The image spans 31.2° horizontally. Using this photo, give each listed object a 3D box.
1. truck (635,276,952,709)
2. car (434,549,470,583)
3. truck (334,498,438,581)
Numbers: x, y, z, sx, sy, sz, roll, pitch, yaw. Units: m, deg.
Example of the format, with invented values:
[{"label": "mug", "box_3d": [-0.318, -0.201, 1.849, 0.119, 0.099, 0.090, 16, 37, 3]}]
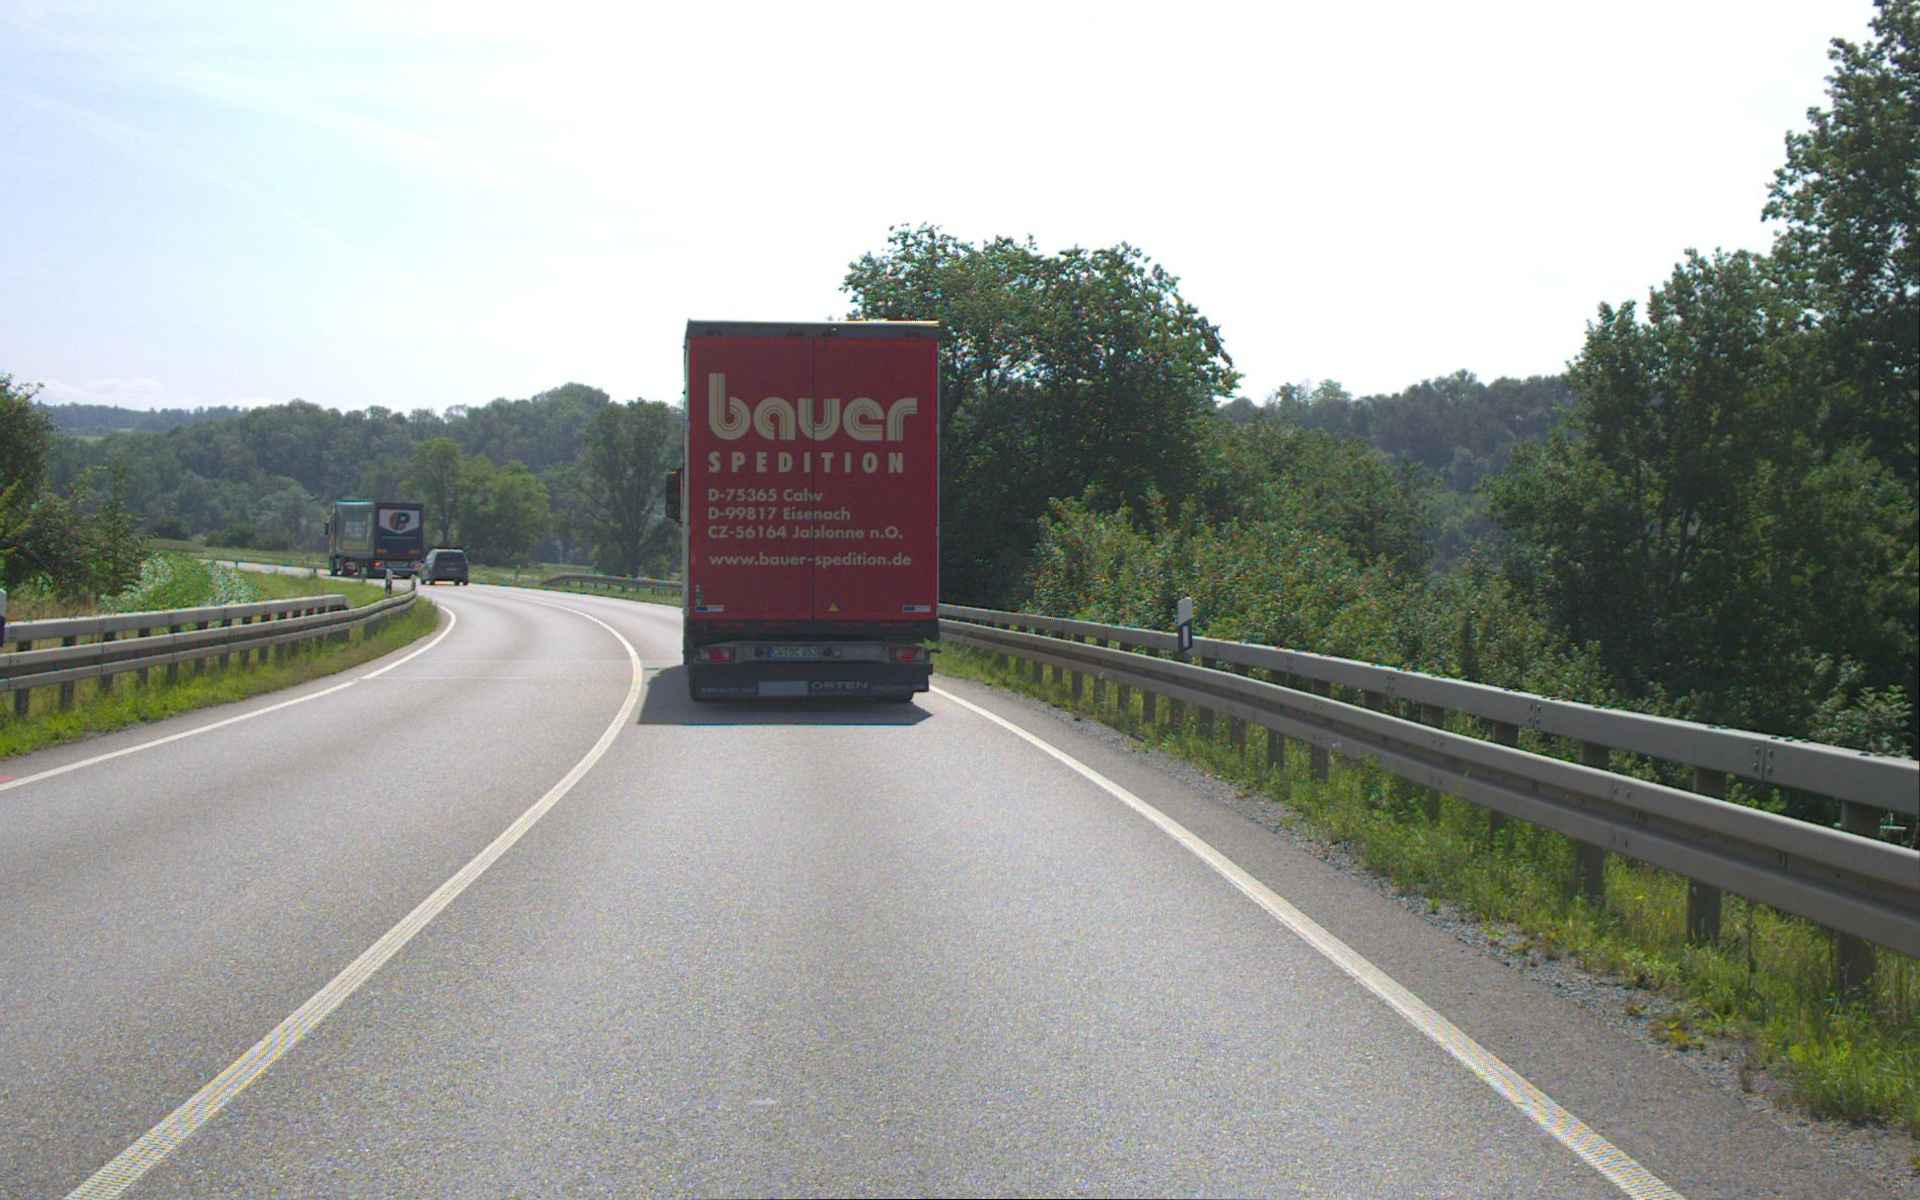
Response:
[{"label": "truck", "box_3d": [-1.885, -1.119, 38.150, 3.094, 4.248, 8.315, 0, 1, -3]}, {"label": "car", "box_3d": [-23.671, -1.605, 160.164, 1.581, 1.496, 3.877, 1, 1, -9]}, {"label": "truck", "box_3d": [-30.964, -3.217, 184.911, 3.639, 4.277, 11.989, 0, 0, -18]}]
